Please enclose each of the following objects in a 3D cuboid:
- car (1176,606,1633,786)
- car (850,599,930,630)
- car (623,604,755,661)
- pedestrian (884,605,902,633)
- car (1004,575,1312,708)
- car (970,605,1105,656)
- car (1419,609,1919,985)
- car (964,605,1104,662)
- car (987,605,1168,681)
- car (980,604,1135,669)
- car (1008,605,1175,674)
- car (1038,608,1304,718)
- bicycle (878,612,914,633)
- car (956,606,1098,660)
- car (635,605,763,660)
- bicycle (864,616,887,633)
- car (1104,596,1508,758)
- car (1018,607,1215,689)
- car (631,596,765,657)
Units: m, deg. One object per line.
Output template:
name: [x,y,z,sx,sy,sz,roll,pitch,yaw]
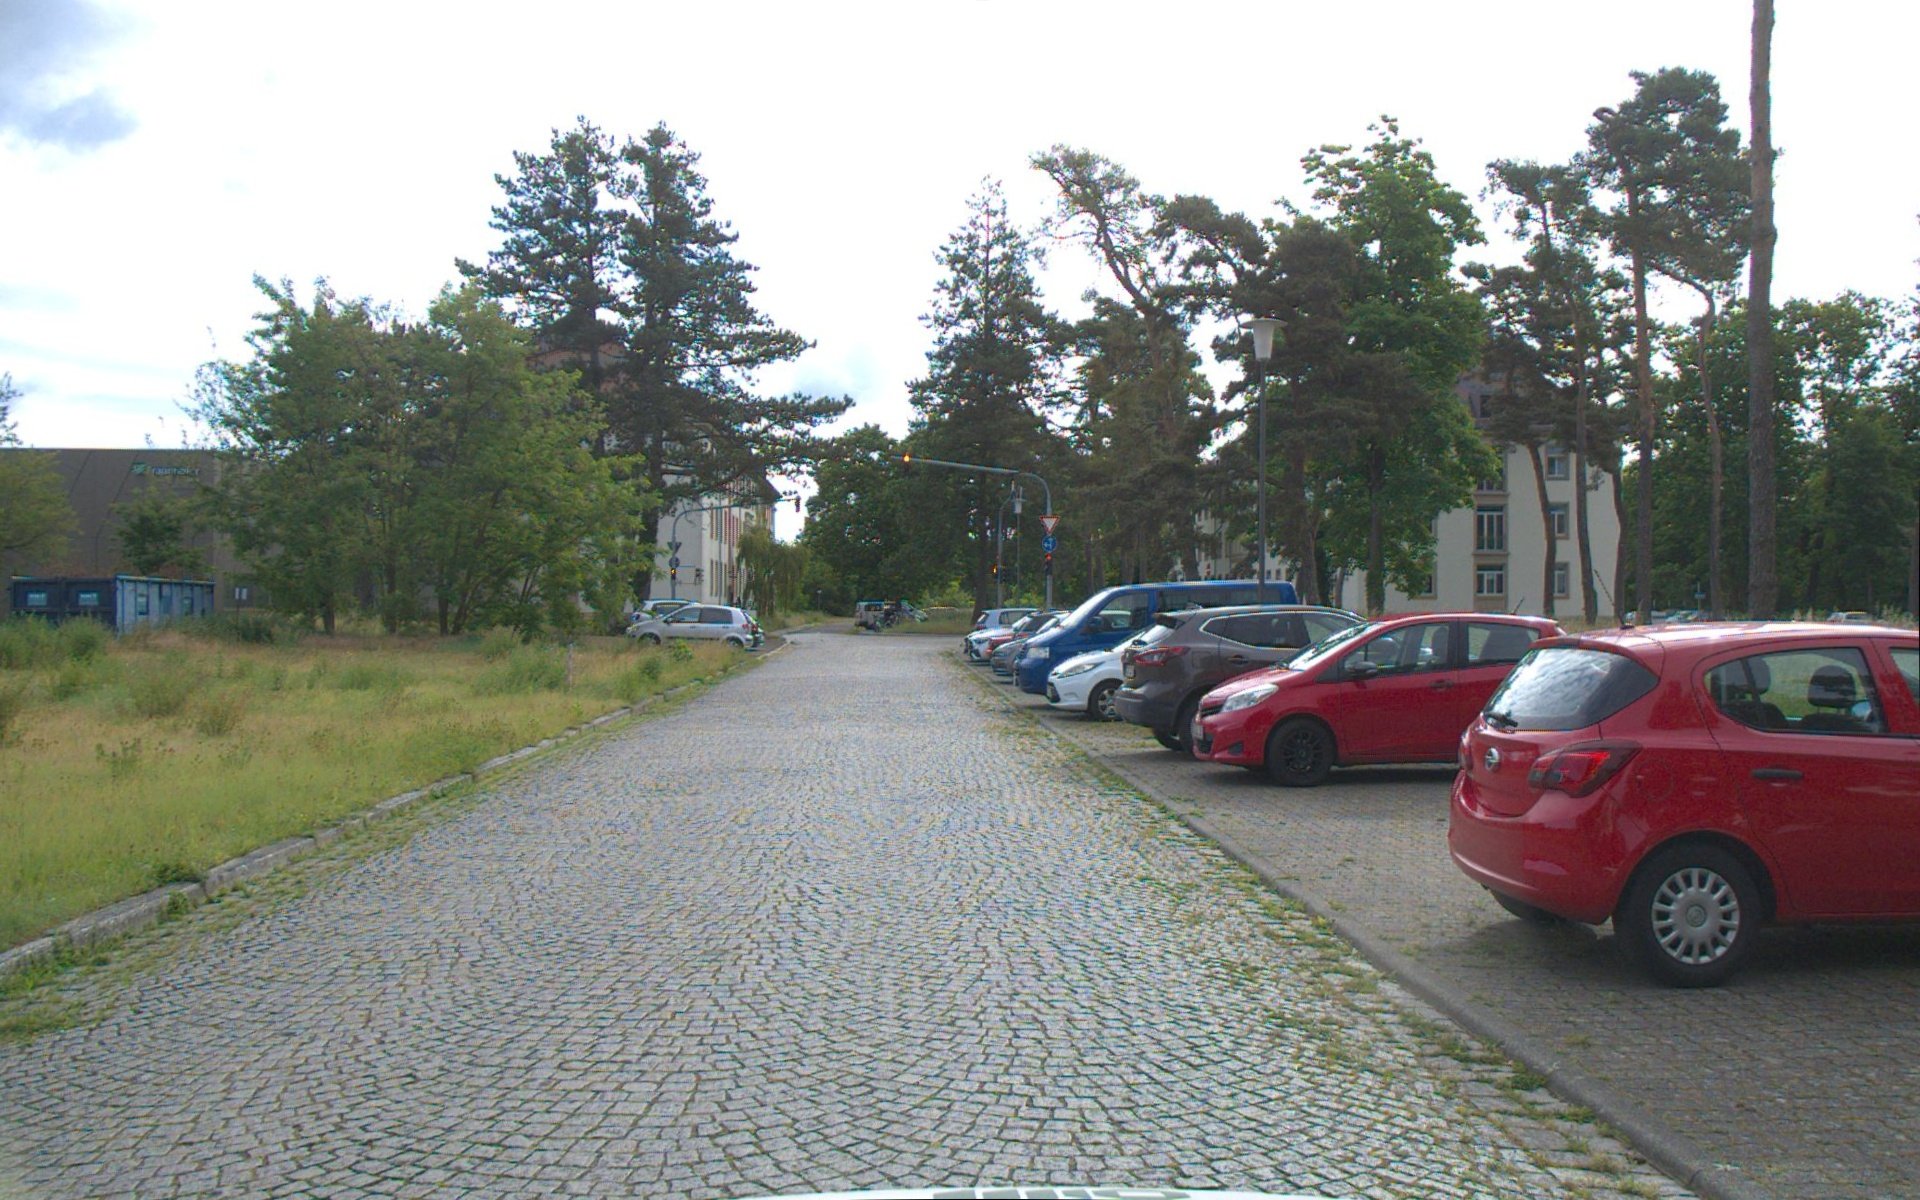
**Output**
car: [4.016,0.840,15.349,3.716,1.486,1.750,-1,-1,-3]
car: [-4.975,1.034,117.200,5.350,2.049,2.262,1,-1,-12]
car: [-8.007,0.950,49.048,3.748,1.600,1.562,-1,-1,-7]
pedestrian: [-4.031,1.148,99.668,1.014,1.642,0.756,1,-1,-8]
car: [3.157,0.653,26.942,4.661,1.989,1.929,-1,-1,-5]
car: [2.346,0.933,50.713,3.893,1.446,1.617,-1,-1,-8]
car: [4.306,0.798,7.776,3.750,1.486,1.778,-1,-1,-4]
car: [1.990,0.915,45.181,3.602,1.446,1.521,-1,-1,-8]
car: [2.456,0.893,34.965,3.600,1.475,1.522,-1,-1,-5]
car: [2.376,0.887,40.661,3.600,1.475,1.522,-1,-1,-5]
car: [2.987,0.895,37.987,3.600,1.475,1.522,-1,-1,-5]
car: [3.052,0.896,24.338,3.601,1.475,1.613,-1,-1,-6]
bicycle: [-3.819,1.358,99.335,2.096,1.236,0.621,1,-1,-8]
car: [1.925,0.936,48.035,3.893,1.446,1.617,-1,-1,-8]
car: [-8.092,1.002,51.462,3.746,1.600,1.563,-1,-1,-4]
bicycle: [-4.886,1.414,95.200,0.613,0.961,1.646,1,-1,-30]
car: [3.681,0.794,17.992,3.950,1.580,1.749,-1,-1,-6]
car: [3.016,0.912,32.215,3.600,1.475,1.522,-1,-1,-5]
car: [-8.590,0.854,54.425,4.178,1.873,1.742,-1,-1,-4]
